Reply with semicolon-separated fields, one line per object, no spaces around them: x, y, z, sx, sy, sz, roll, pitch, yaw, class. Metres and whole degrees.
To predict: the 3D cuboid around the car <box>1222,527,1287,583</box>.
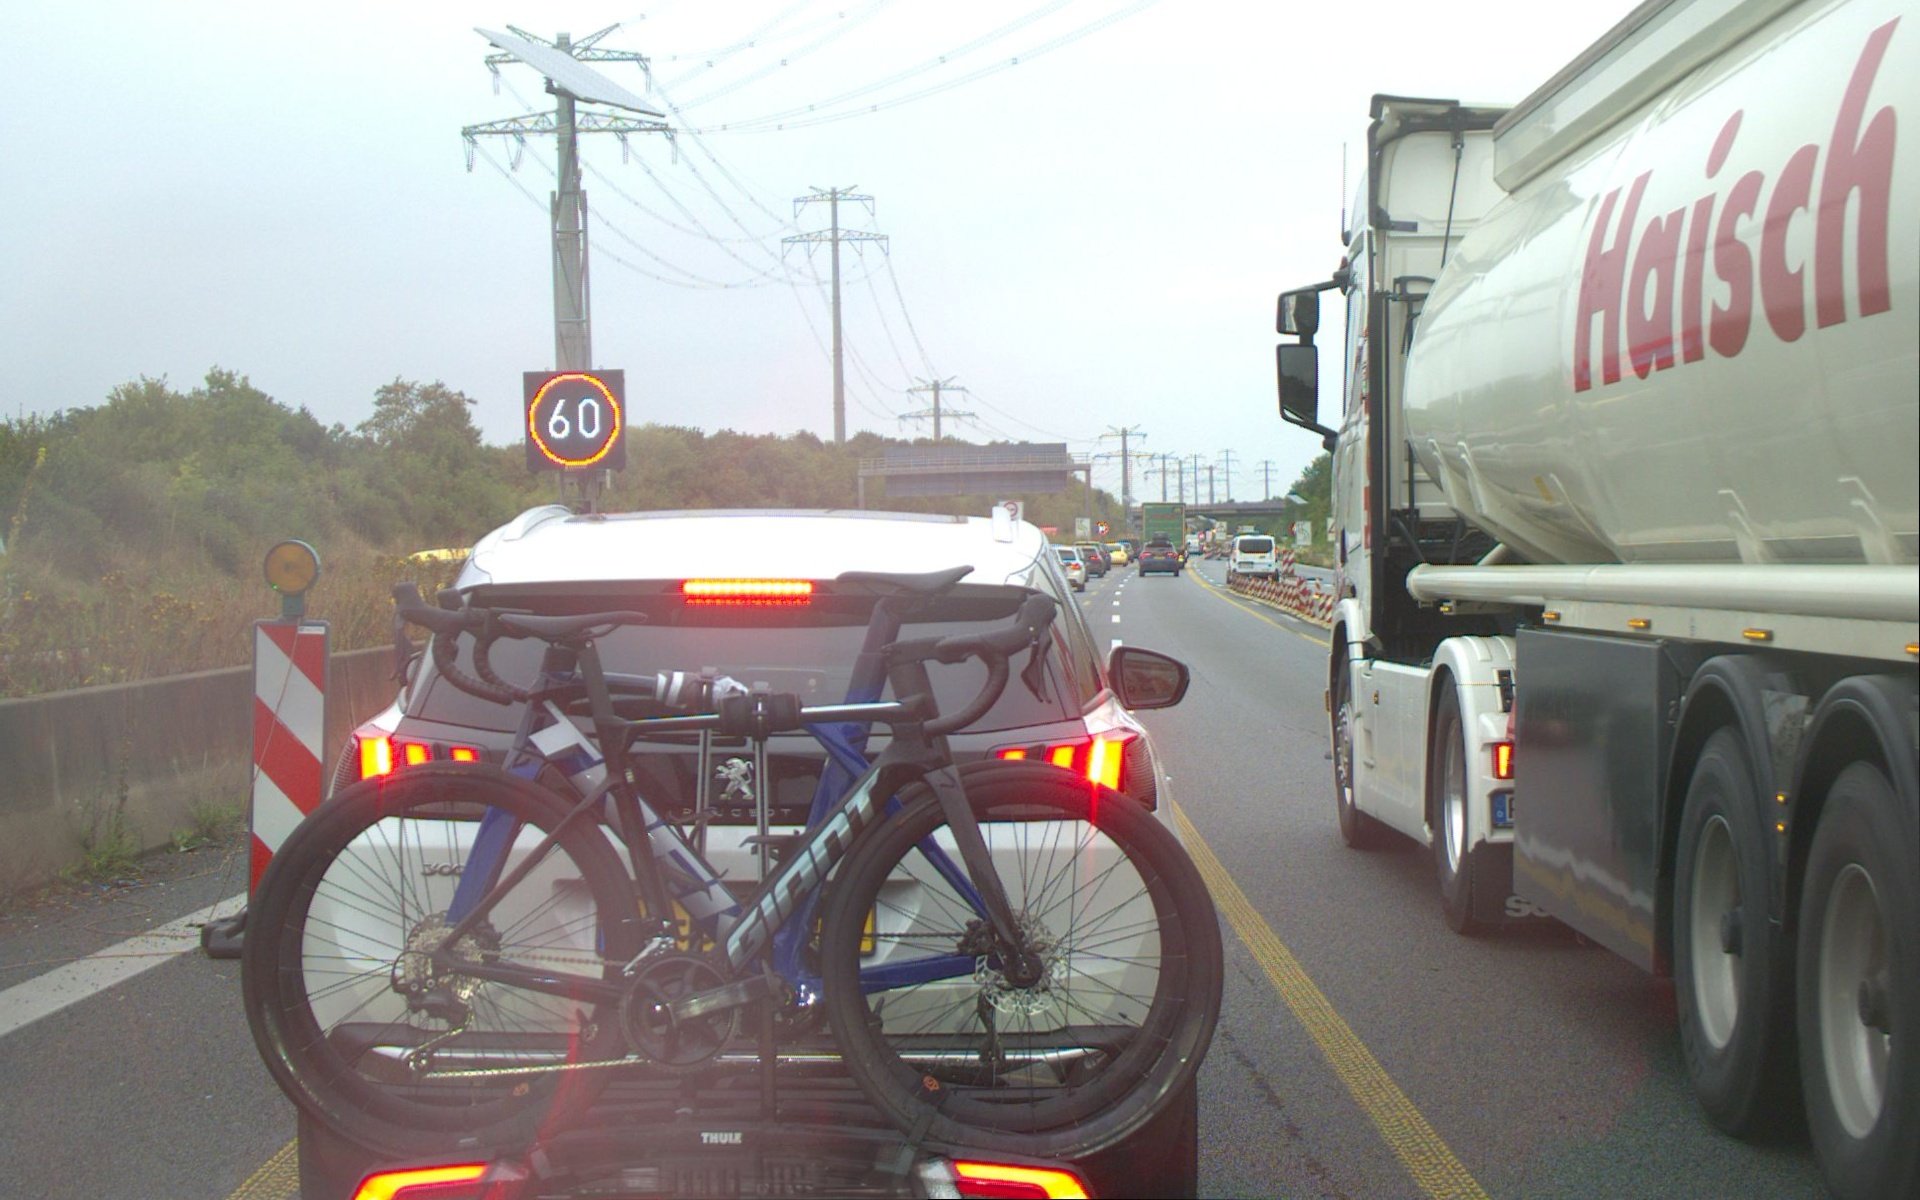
10.910;-1.698;127.749;1.993;2.007;4.000;-1;1;0;car

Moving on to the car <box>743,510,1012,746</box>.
-0.599;0.169;28.195;1.993;1.754;4.000;-1;1;1;car

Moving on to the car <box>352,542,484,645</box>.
-11.562;-0.176;73.634;1.993;2.040;4.778;-1;1;0;car

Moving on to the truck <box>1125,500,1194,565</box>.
12.036;-4.061;208.060;3.732;3.809;11.868;-1;1;1;truck

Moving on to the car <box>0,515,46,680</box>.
-15.346;0.013;50.081;2.240;2.432;5.883;-1;1;2;car

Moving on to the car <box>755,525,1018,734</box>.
-0.582;0.185;28.090;1.993;1.578;4.000;0;1;-1;car

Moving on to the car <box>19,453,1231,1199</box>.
-0.471;0.533;7.757;1.928;1.605;4.595;0;1;2;car

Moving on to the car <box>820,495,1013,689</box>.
-0.481;-0.127;38.489;1.993;2.007;4.000;-1;1;0;car

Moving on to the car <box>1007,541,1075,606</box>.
2.563;-0.838;109.314;1.993;2.007;4.000;1;0;-1;car

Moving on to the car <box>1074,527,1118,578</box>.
5.416;-1.886;136.821;1.654;2.007;4.000;0;1;3;car

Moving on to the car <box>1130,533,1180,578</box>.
9.032;-2.057;159.450;1.993;2.007;4.000;1;0;-1;car

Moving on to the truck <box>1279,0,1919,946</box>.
3.053;-0.547;16.095;2.644;3.877;4.030;1;0;-1;truck

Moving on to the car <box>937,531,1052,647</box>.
0.590;-0.211;62.624;1.993;2.007;4.000;1;0;-1;car

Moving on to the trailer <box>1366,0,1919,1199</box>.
3.144;-0.487;9.431;2.637;3.880;10.544;1;0;-1;trailer

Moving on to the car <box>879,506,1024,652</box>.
-0.137;-0.345;50.272;1.993;2.007;4.000;-1;1;0;car
